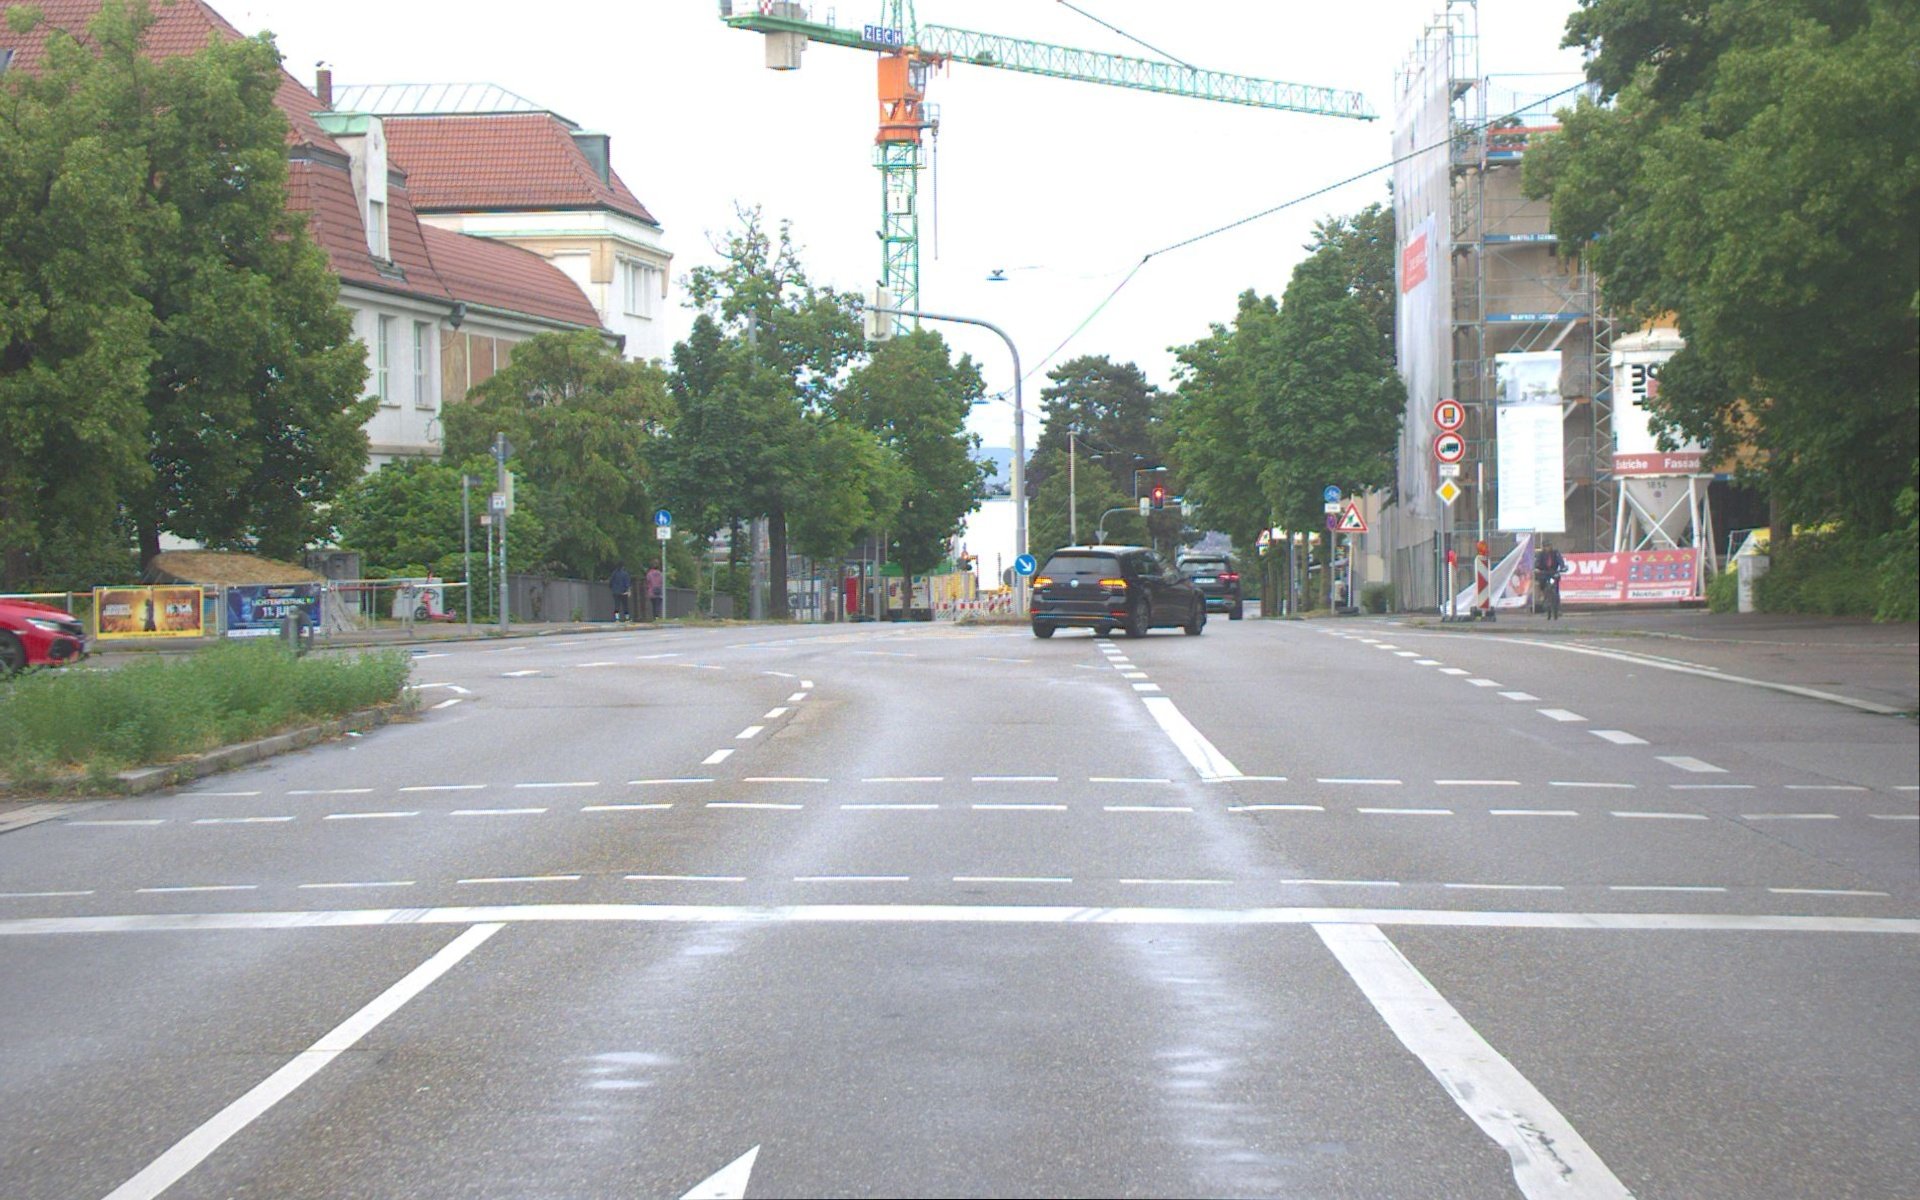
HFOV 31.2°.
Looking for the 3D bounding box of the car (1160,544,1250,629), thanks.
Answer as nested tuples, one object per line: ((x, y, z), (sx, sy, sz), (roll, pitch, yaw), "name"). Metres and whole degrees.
((6.057, -0.316, 85.454), (1.944, 2.014, 4.551), (1, -1, 1), "car")

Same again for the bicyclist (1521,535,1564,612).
((12.071, -0.538, 71.260), (0.720, 1.558, 1.142), (1, -1, 3), "bicyclist")

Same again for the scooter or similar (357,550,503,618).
((-11.775, -0.362, 76.440), (3.087, 1.435, 0.949), (-1, 1, -1), "scooter or similar")

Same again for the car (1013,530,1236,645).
((2.612, -0.176, 53.765), (1.996, 1.700, 3.994), (0, -1, 27), "car")

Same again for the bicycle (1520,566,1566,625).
((12.070, -0.084, 71.231), (0.720, 1.189, 1.755), (1, -1, 3), "bicycle")

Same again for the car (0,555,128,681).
((-12.164, 0.206, 40.308), (4.504, 1.420, 2.001), (-1, 1, -8), "car")
